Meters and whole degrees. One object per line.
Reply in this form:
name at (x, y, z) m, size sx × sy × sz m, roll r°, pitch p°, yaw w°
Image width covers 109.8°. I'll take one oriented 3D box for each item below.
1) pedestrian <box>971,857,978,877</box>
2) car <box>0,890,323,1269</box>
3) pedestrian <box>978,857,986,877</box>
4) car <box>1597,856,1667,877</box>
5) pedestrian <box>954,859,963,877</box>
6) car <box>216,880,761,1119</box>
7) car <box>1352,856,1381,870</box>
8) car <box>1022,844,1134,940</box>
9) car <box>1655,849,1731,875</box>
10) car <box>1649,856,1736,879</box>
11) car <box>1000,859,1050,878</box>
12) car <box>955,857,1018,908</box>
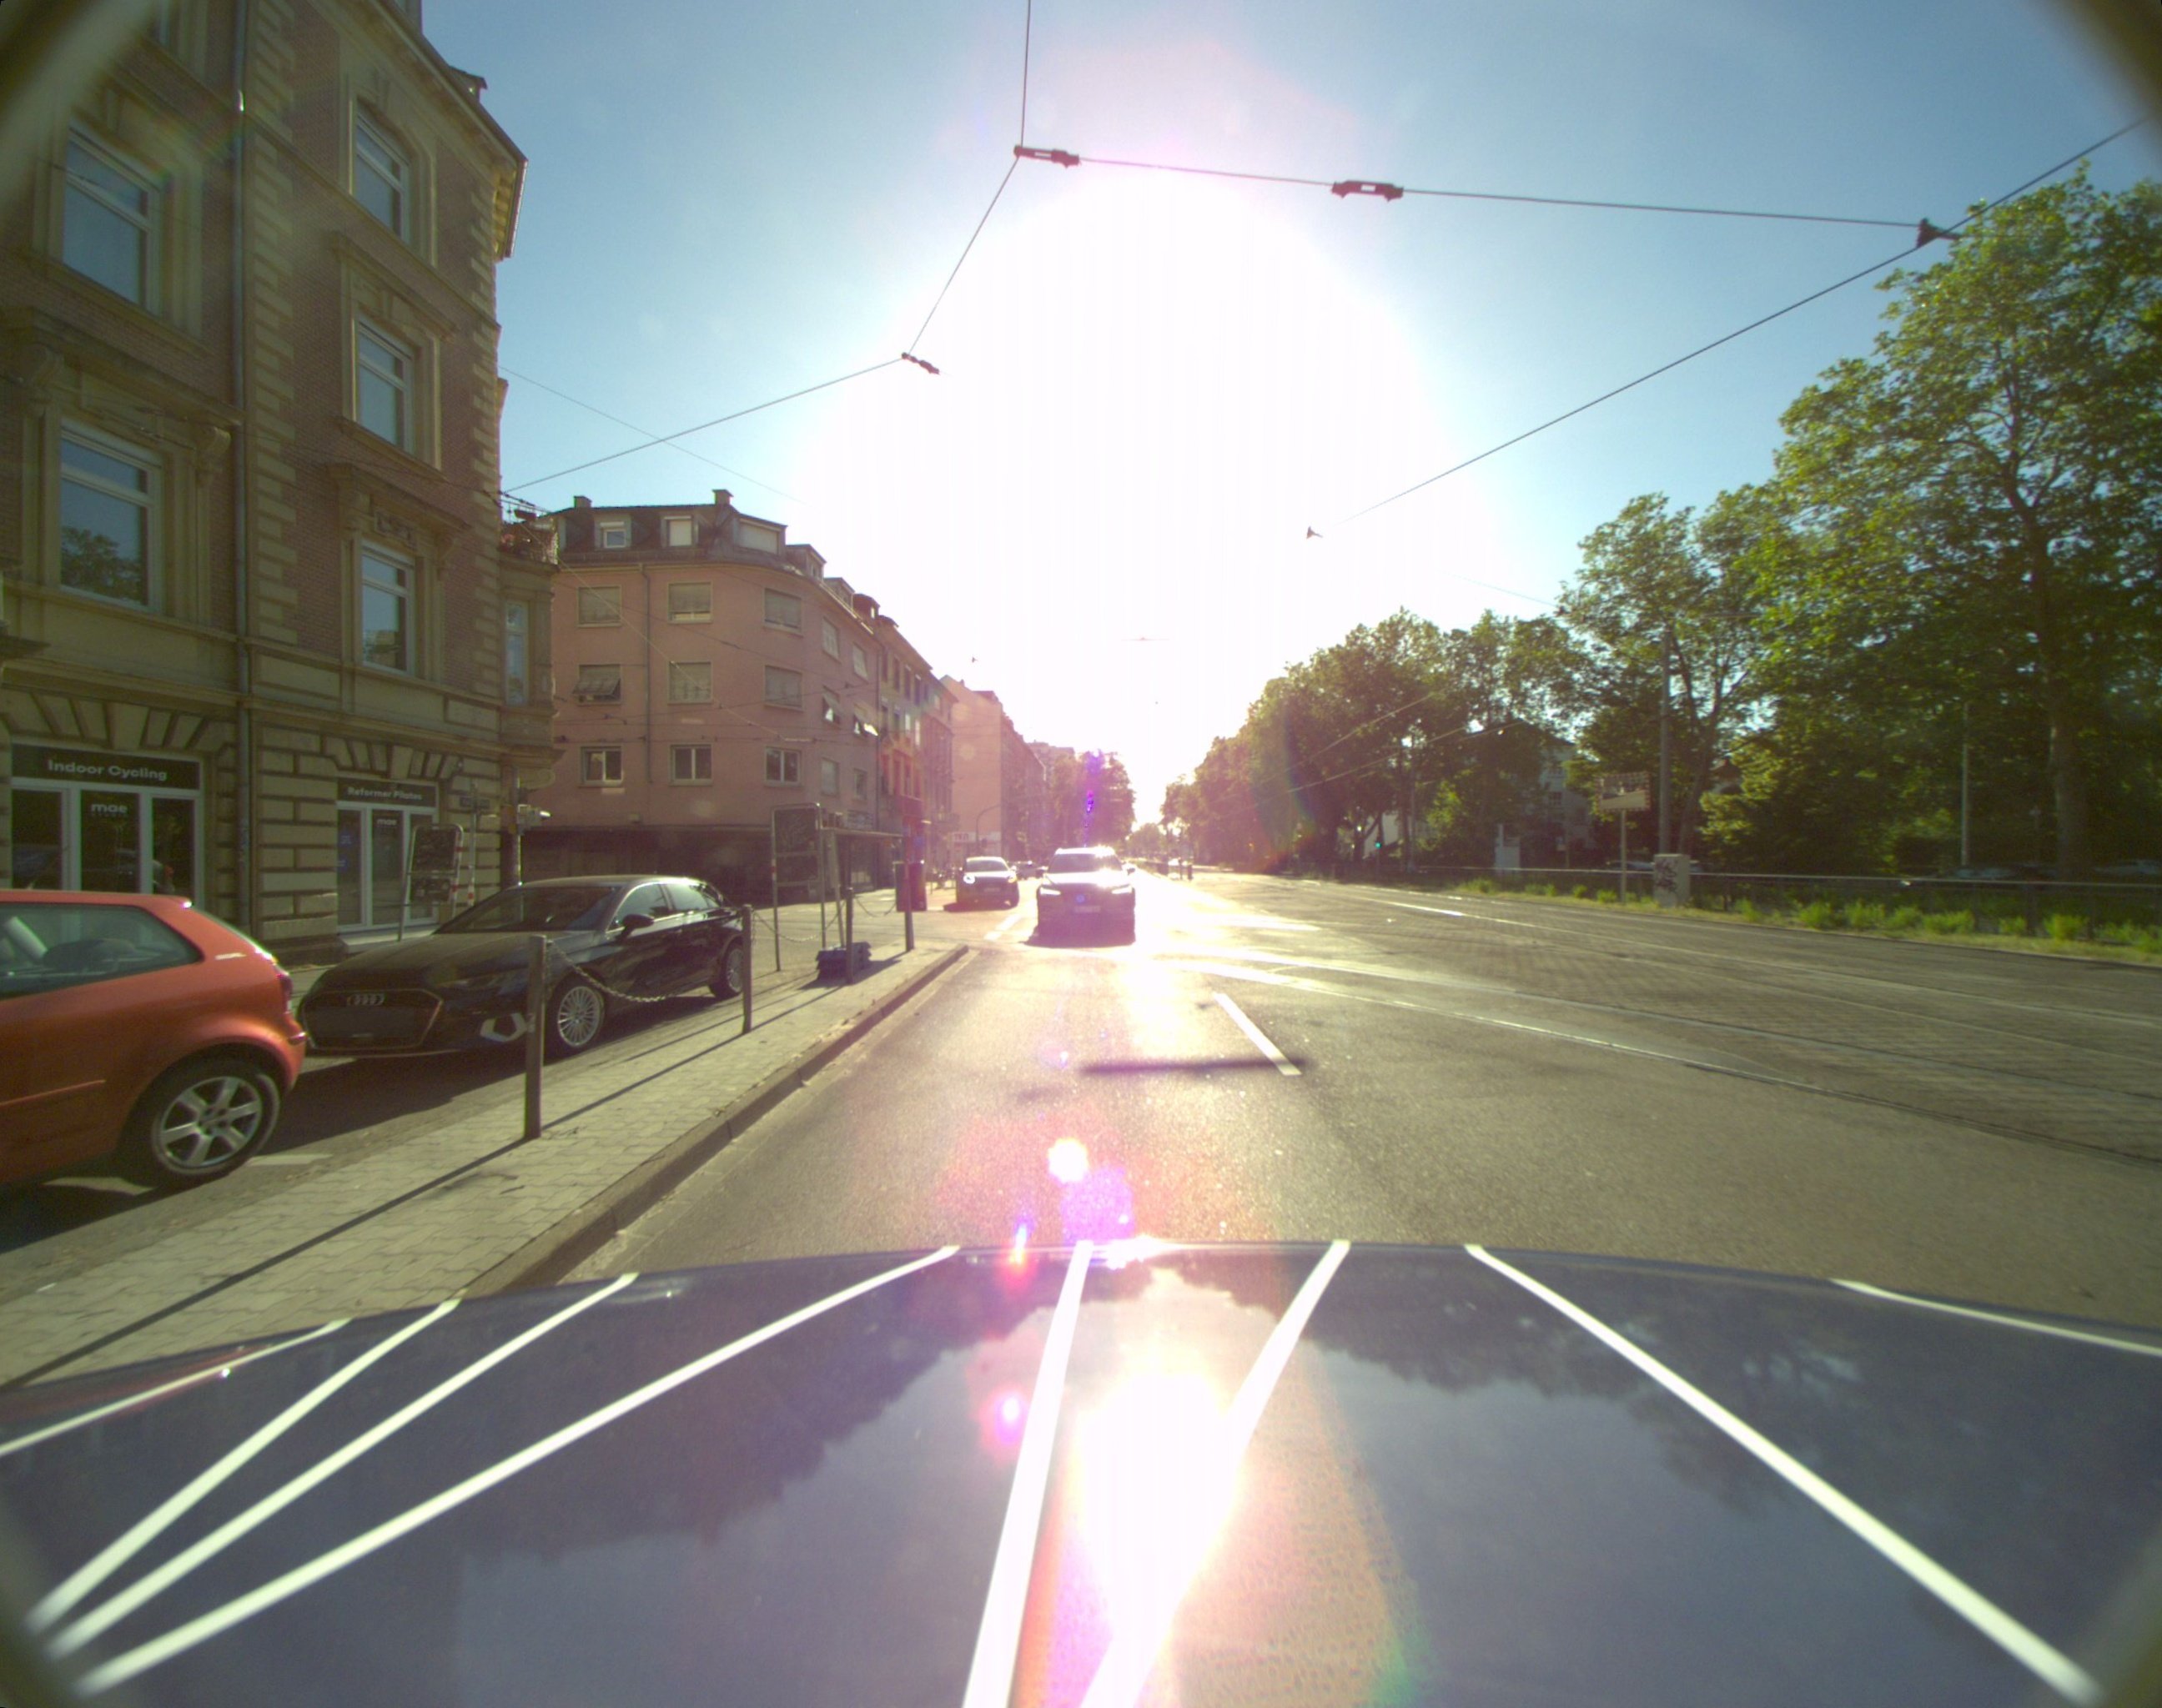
pedestrian at (-9.225, 1.108, 65.675) m, size 0.495 × 1.752 × 0.660 m, roll -1°, pitch 1°, yaw 2°
car at (-5.057, 0.930, 2.241) m, size 1.593 × 1.426 × 3.906 m, roll -2°, pitch 0°, yaw 2°
pedestrian at (-8.528, 1.099, 65.453) m, size 0.495 × 1.752 × 0.660 m, roll -1°, pitch 1°, yaw 2°
car at (29.212, 0.643, 40.386) m, size 1.503 × 1.043 × 3.129 m, roll -2°, pitch 0°, yaw 3°
pedestrian at (-8.982, 1.023, 55.597) m, size 0.495 × 1.252 × 0.660 m, roll -1°, pitch 1°, yaw 5°
car at (-4.829, 1.041, 7.138) m, size 1.700 × 1.413 × 4.170 m, roll -2°, pitch 0°, yaw 2°
car at (31.153, 0.988, 82.972) m, size 1.722 × 1.462 × 3.757 m, roll -2°, pitch 0°, yaw 0°
car at (0.011, 0.699, 15.827) m, size 1.968 × 1.664 × 4.001 m, roll -2°, pitch 0°, yaw 2°
car at (37.908, 0.496, 47.175) m, size 1.745 × 1.462 × 3.741 m, roll -2°, pitch 0°, yaw 2°
car at (29.014, 0.615, 36.191) m, size 1.483 × 1.023 × 3.405 m, roll -2°, pitch 0°, yaw 3°
car at (-4.724, 1.226, 64.579) m, size 1.812 × 1.442 × 4.008 m, roll -2°, pitch 0°, yaw 41°
car at (-3.168, 0.873, 24.907) m, size 1.661 × 1.473 × 3.968 m, roll -2°, pitch 0°, yaw -12°
